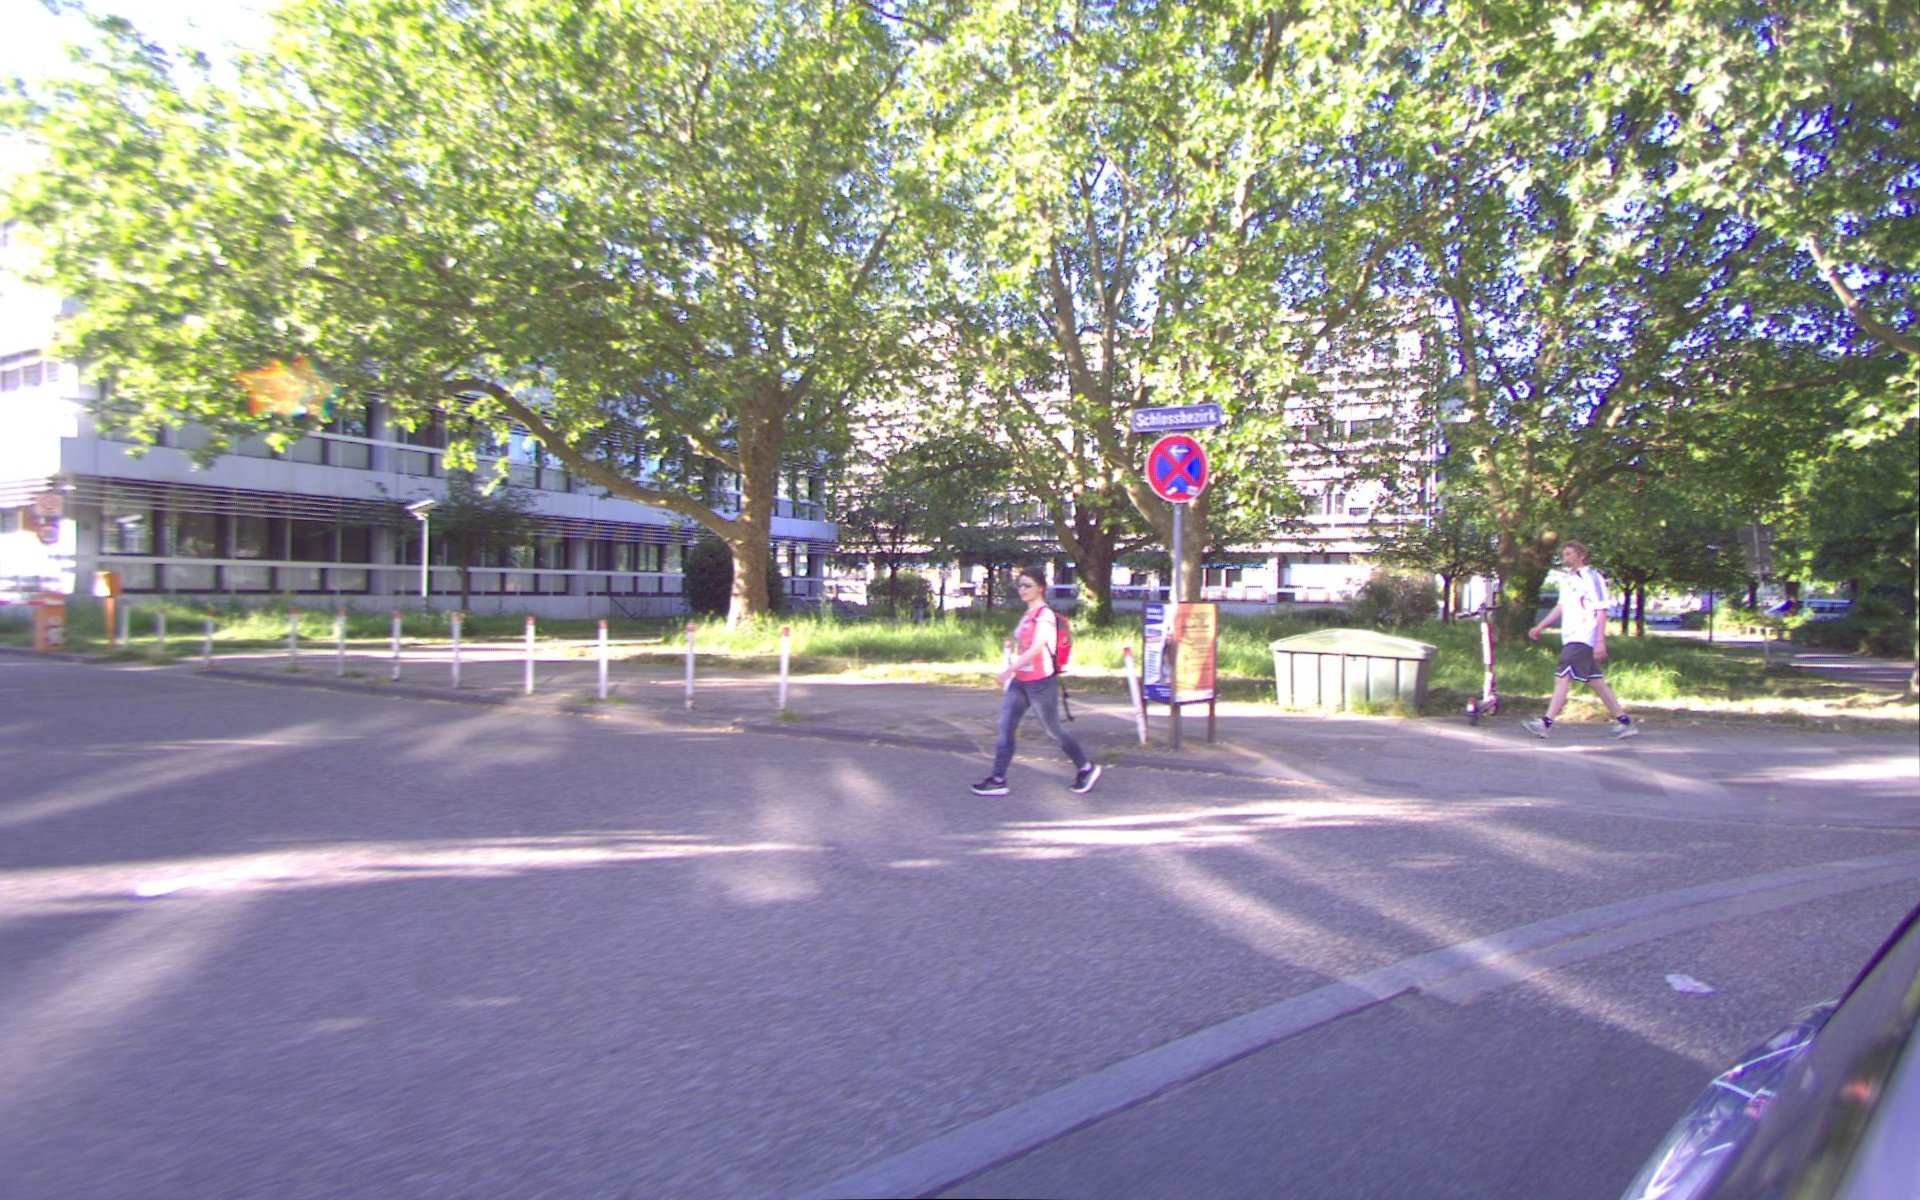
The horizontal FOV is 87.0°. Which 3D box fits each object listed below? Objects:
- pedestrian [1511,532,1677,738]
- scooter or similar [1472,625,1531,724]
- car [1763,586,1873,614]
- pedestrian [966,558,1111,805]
[{"bbox_3d":[5.974,0.305,9.603,1.117,1.836,0.744,1,0,14],"label":"pedestrian"},{"bbox_3d":[5.715,0.762,10.721,0.414,0.925,1.143,0,2,21],"label":"scooter or similar"},{"bbox_3d":[50.923,-0.010,60.200,4.618,1.493,1.993,2,0,30],"label":"car"},{"bbox_3d":[0.529,0.539,7.107,0.921,1.644,0.711,1,0,-2],"label":"pedestrian"}]
